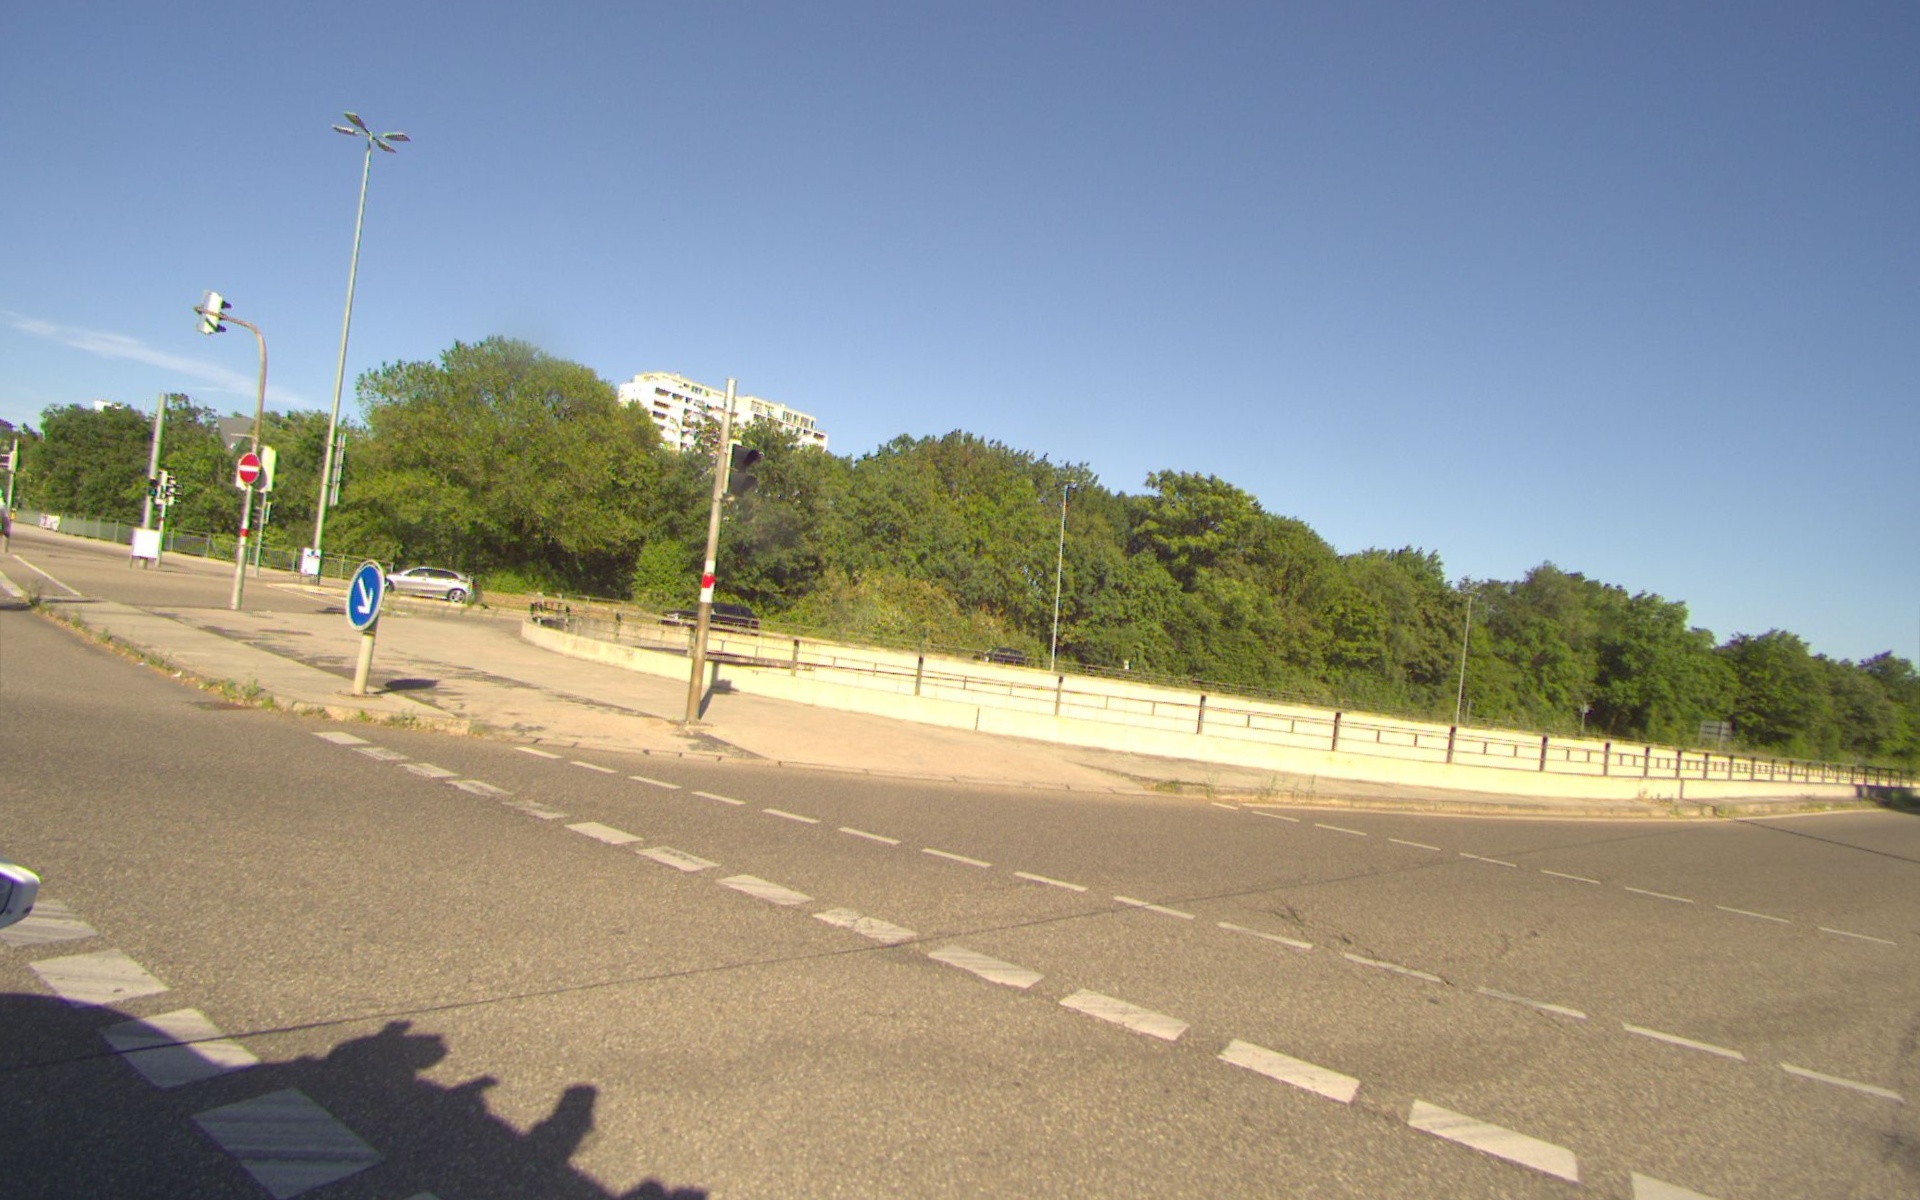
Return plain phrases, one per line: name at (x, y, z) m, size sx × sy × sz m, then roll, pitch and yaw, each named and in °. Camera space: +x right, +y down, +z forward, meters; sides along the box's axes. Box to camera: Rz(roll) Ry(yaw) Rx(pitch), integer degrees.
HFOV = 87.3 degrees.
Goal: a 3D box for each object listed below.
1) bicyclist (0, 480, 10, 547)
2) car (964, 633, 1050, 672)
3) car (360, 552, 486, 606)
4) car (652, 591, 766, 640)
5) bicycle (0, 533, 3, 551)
bicyclist at (-14.029, -0.901, 14.151) m, size 1.098 × 1.678 × 0.723 m, roll 6°, pitch -2°, yaw 43°
car at (2.685, 3.014, 57.487) m, size 4.637 × 1.635 × 1.844 m, roll 9°, pitch -2°, yaw -35°
car at (-21.984, -0.833, 41.391) m, size 4.185 × 1.570 × 1.854 m, roll 8°, pitch -2°, yaw -19°
car at (-11.558, 0.713, 46.509) m, size 4.643 × 1.635 × 1.842 m, roll 9°, pitch -2°, yaw -38°
bicycle at (-14.087, -0.460, 14.141) m, size 1.802 × 1.114 × 0.690 m, roll 5°, pitch -3°, yaw 43°
